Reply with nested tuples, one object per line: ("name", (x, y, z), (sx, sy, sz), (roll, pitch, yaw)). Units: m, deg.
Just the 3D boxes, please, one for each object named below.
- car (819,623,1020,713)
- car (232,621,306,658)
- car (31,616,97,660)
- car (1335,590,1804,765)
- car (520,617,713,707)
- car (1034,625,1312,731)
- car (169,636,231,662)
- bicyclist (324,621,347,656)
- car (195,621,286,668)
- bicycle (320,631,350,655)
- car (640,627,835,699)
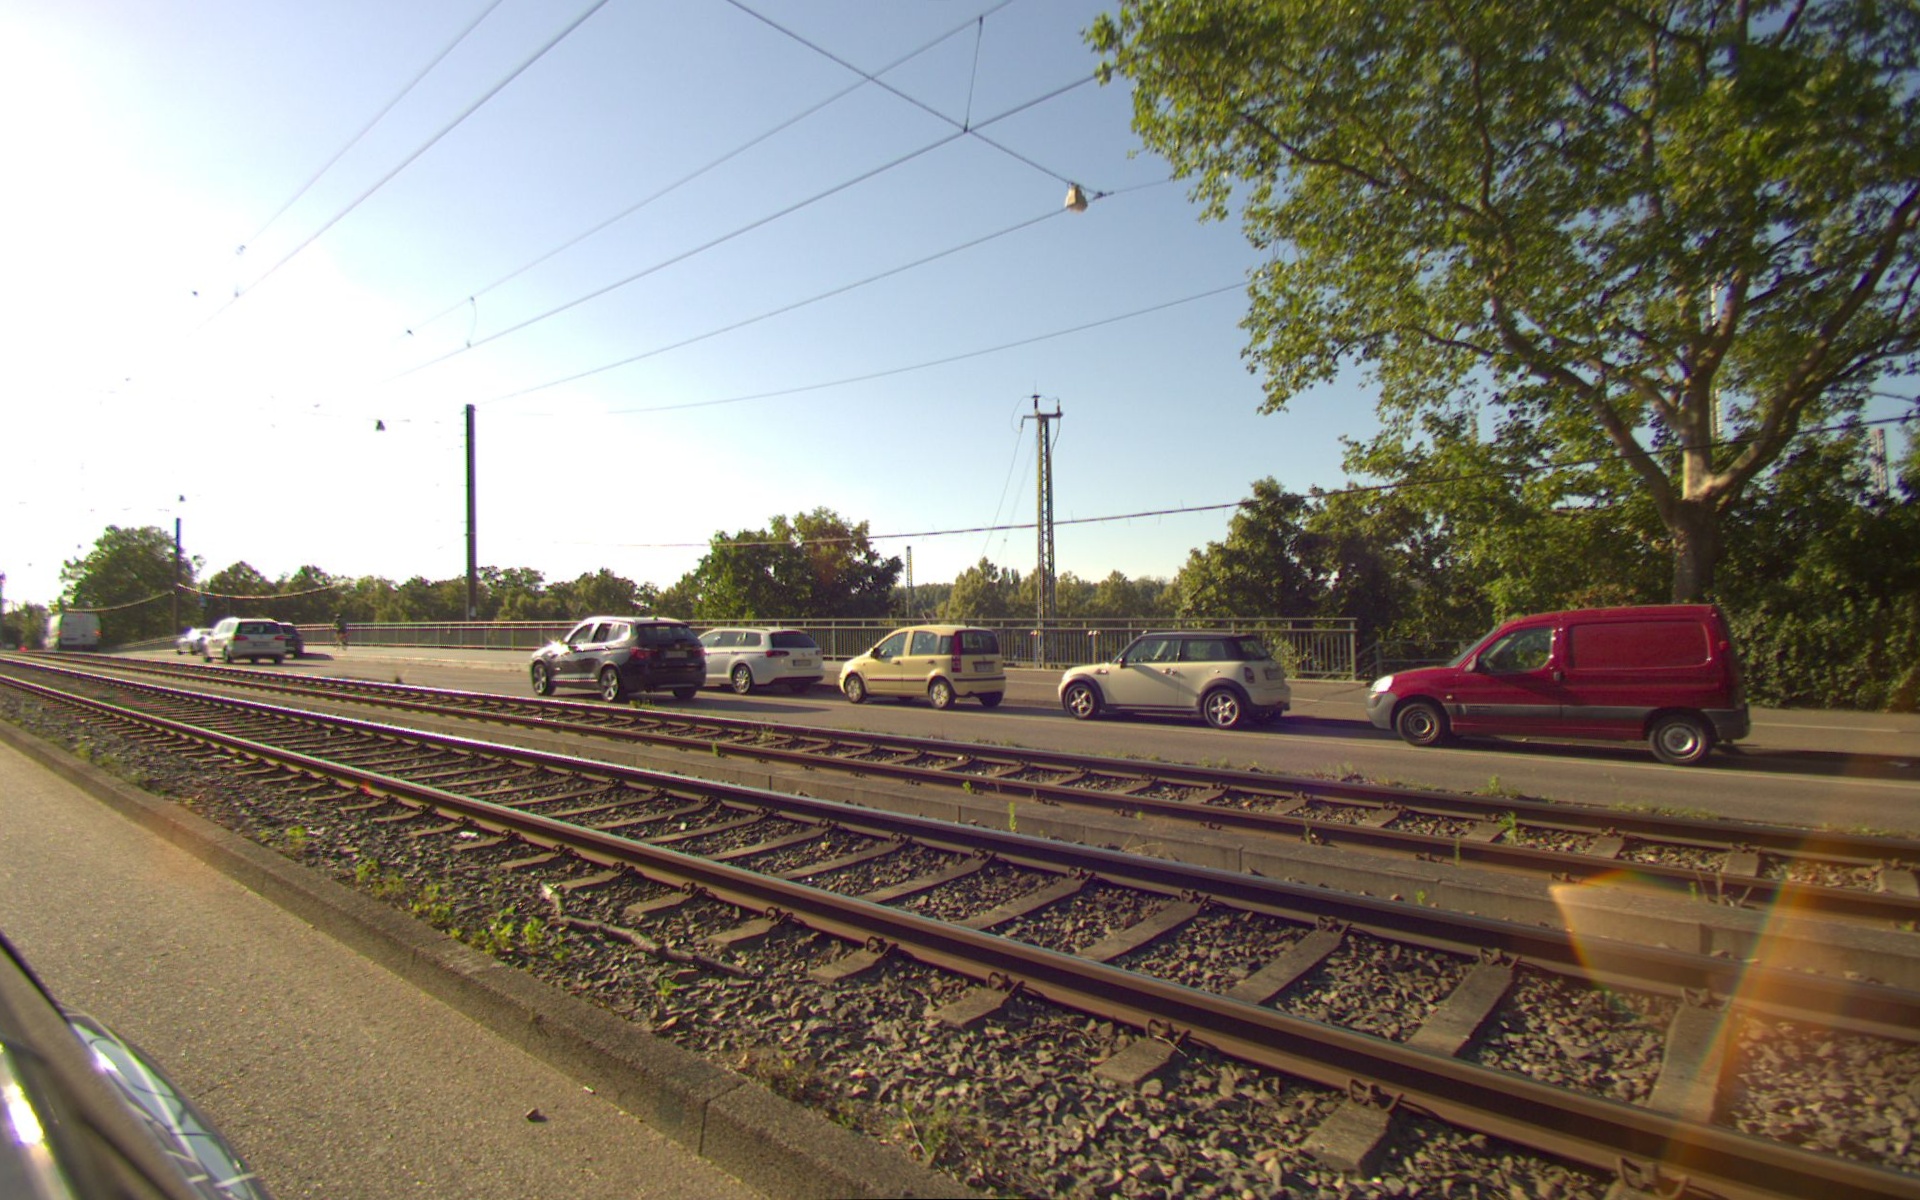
("car", (-0.837, 1.255, 19.476), (3.788, 1.543, 1.616), (-2, -2, 41))
("car", (-32.367, 1.889, 47.363), (4.444, 1.663, 1.761), (-3, -5, 41))
("car", (-55.849, 2.404, 63.042), (6.033, 2.613, 2.066), (-2, -3, 39))
("car", (7.283, 0.862, 12.436), (4.681, 1.767, 1.724), (-2, -2, 41))
("car", (-7.077, 1.230, 20.653), (4.391, 1.636, 1.724), (-2, -3, 40))
("car", (3.287, 1.166, 16.025), (3.998, 1.462, 1.617), (-2, -2, 39))
("car", (-41.231, 2.652, 54.845), (4.917, 1.367, 1.666), (-2, -4, 41))
("bicyclist", (-30.643, 1.891, 49.638), (0.889, 1.639, 0.672), (-2, 0, 41))
("car", (-28.043, 1.741, 39.379), (4.595, 1.678, 1.853), (-2, -5, 42))
("bicycle", (-30.724, 2.123, 49.752), (2.099, 1.106, 0.672), (-2, 0, 42))
("car", (-5.199, 1.401, 23.274), (4.952, 1.475, 1.724), (-2, -2, 40))
